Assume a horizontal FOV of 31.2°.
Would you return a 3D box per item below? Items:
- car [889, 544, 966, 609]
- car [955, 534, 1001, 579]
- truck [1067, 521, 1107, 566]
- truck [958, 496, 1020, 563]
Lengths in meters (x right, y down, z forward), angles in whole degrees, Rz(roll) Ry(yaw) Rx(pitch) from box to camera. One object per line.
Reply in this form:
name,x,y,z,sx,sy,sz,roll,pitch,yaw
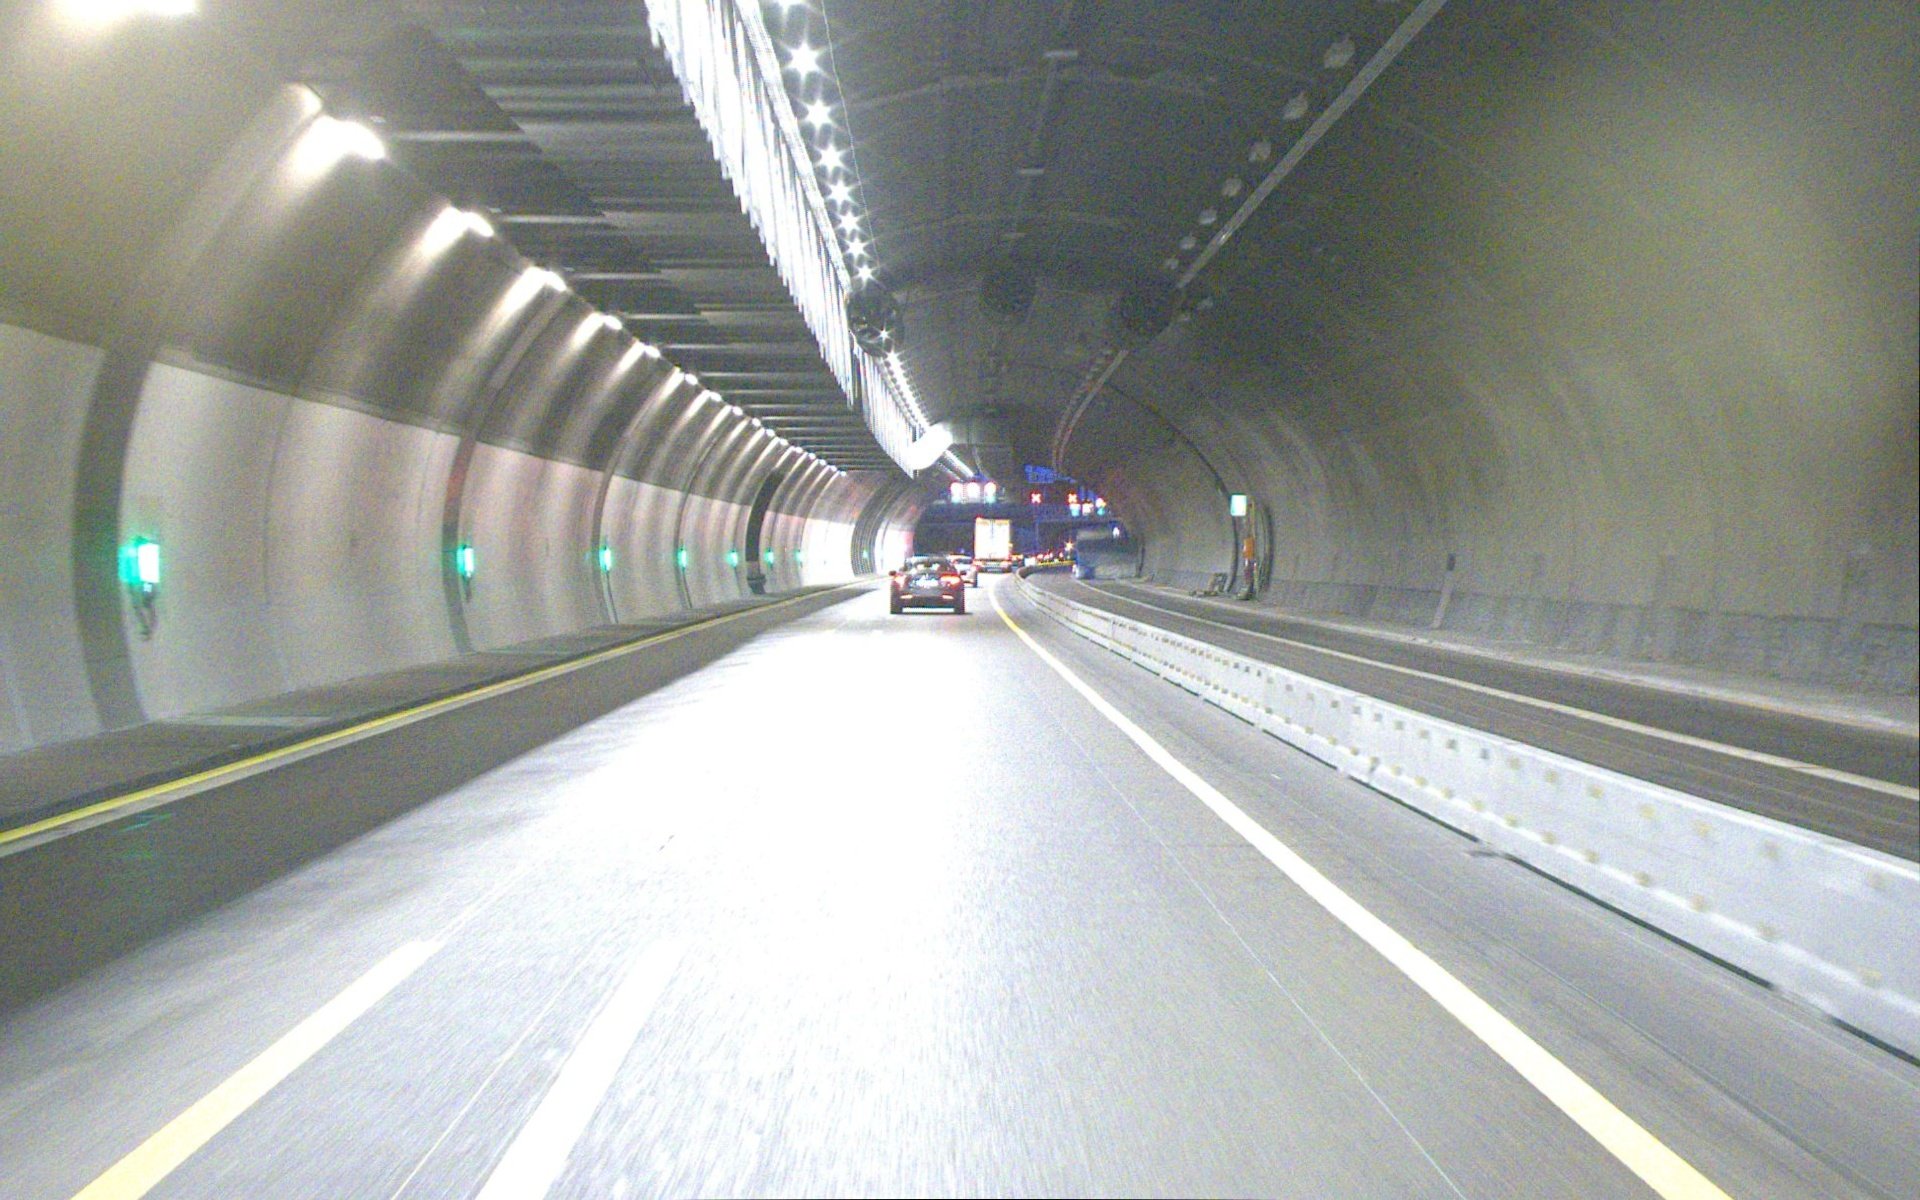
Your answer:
car,-0.837,-0.601,87.048,1.887,1.601,4.000,0,1,-1
car,0.809,-2.005,156.533,1.993,2.007,4.000,0,1,-1
truck,9.309,-4.112,253.298,2.892,3.261,8.401,0,1,2
truck,2.261,-5.276,260.789,4.546,4.970,9.599,0,1,1
